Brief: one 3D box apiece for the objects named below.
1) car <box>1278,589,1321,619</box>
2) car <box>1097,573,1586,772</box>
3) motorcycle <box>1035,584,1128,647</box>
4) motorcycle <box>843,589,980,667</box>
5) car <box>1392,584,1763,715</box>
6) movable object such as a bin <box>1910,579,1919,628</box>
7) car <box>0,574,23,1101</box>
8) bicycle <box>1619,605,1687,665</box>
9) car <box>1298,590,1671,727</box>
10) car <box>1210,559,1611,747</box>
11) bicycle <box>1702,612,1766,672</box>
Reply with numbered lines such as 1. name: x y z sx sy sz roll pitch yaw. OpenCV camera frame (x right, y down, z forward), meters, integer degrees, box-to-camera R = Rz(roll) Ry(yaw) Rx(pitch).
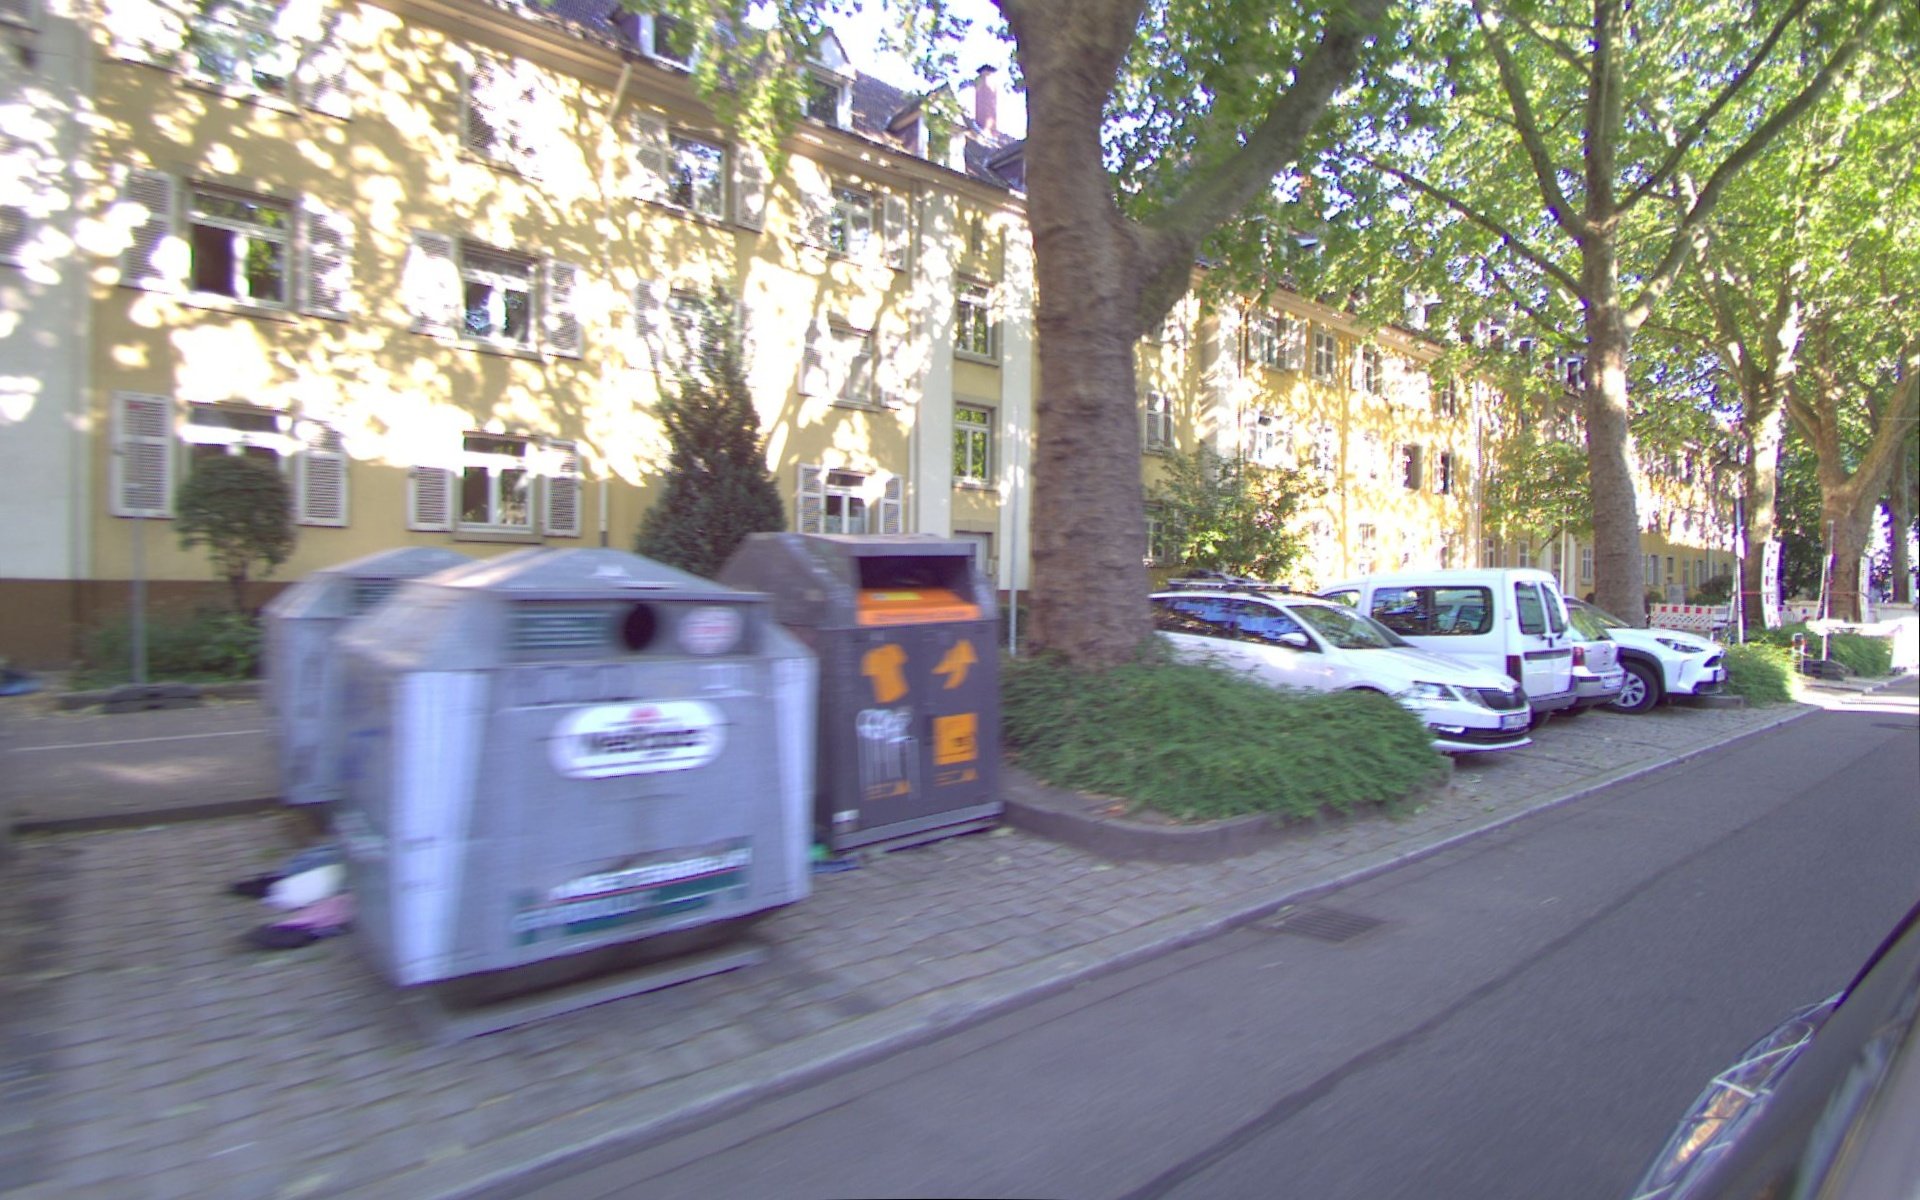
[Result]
1. car: 10.008 0.126 29.812 1.546 0.863 0.445 0 -1 -40
2. car: 3.558 0.548 10.234 1.767 1.561 4.384 1 0 -36
3. motorcycle: 2.543 0.306 21.394 0.701 1.266 1.993 0 0 -41
4. motorcycle: -0.747 0.418 16.261 2.224 1.167 0.716 0 1 -41
5. car: 8.492 0.549 14.199 1.883 1.540 4.095 -1 1 -41
6. movable object such as a bin: 46.363 0.168 47.047 3.210 2.298 1.488 1 0 -7
7. car: -4.444 0.637 3.563 1.644 1.464 3.530 0 1 -42
8. bicycle: 14.331 0.704 20.908 1.914 1.169 0.692 0 0 -41
9. car: 6.539 0.609 12.987 1.817 1.451 3.856 0 1 -36
10. car: 5.042 0.471 11.775 1.881 1.794 3.856 0 1 -36
11. bicycle: 15.058 0.786 19.674 1.777 1.084 0.636 0 0 -41
